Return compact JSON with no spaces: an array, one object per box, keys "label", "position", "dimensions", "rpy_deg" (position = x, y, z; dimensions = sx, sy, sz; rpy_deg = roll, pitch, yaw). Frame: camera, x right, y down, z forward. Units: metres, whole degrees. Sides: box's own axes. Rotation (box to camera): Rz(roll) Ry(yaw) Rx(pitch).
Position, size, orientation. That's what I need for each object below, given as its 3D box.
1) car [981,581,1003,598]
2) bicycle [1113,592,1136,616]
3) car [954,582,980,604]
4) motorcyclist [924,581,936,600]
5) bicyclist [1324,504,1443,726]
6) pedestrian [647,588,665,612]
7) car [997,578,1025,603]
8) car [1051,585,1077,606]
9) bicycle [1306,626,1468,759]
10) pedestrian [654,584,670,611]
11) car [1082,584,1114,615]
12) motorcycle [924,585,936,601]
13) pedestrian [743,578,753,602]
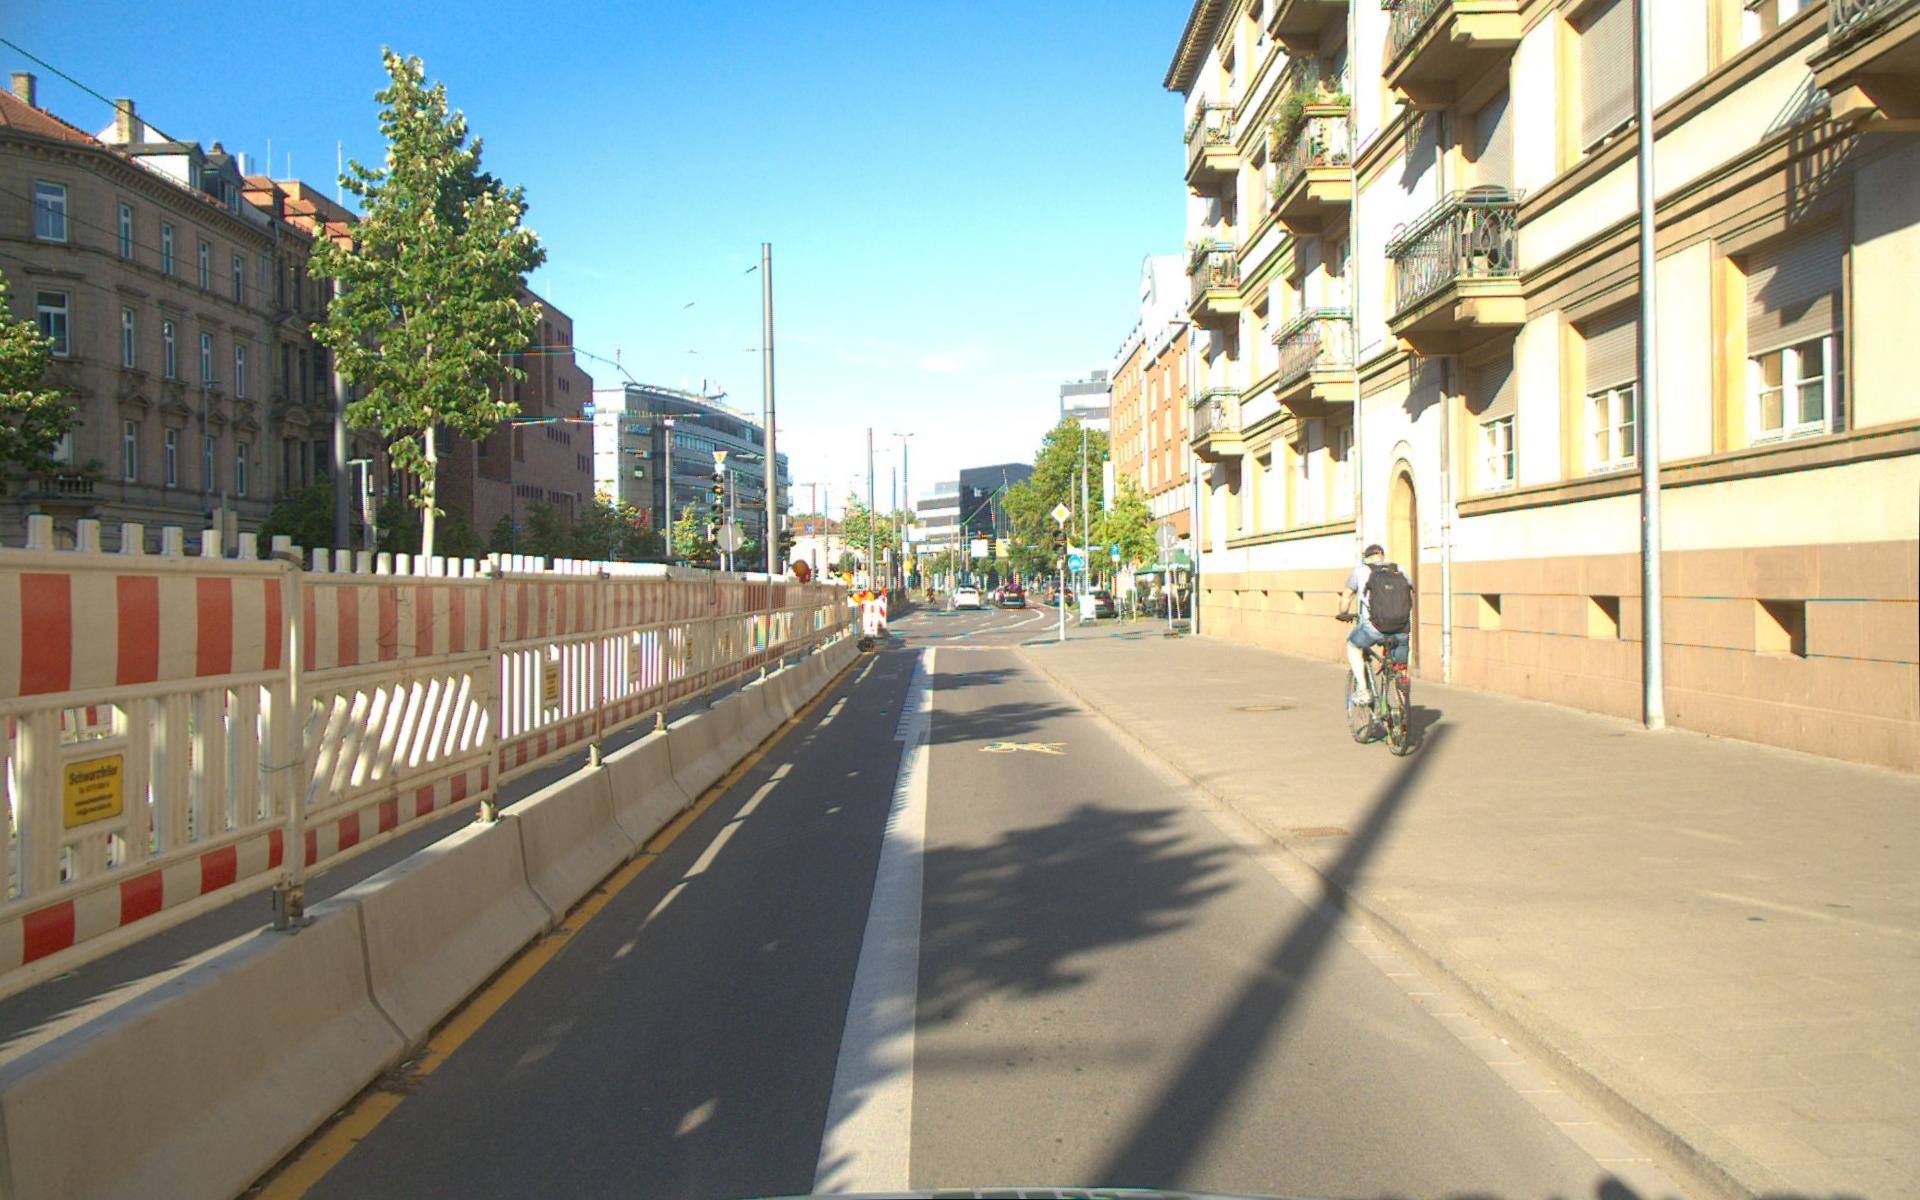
[{"label":"car","position":[2.812,-0.941,146.563],"dimensions":[1.813,1.524,4.378],"rpy_deg":[-1,0,0]},{"label":"bicycle","position":[8.248,0.228,82.923],"dimensions":[0.750,1.100,1.996],"rpy_deg":[-6,0,-4]},{"label":"car","position":[0.475,-0.493,116.141],"dimensions":[1.744,1.439,4.818],"rpy_deg":[1,1,0]},{"label":"motorcyclist","position":[-2.560,-0.830,141.954],"dimensions":[0.998,1.631,1.148],"rpy_deg":[1,0,0]},{"label":"bicyclist","position":[3.554,0.118,13.951],"dimensions":[0.718,1.794,0.937],"rpy_deg":[-1,0,-1]},{"label":"pedestrian","position":[-15.114,-0.010,82.284],"dimensions":[0.706,1.188,0.721],"rpy_deg":[-3,0,0]},{"label":"car","position":[3.737,-0.723,121.830],"dimensions":[1.934,1.790,4.632],"rpy_deg":[1,1,0]},{"label":"car","position":[8.385,-0.385,134.164],"dimensions":[1.809,1.587,4.633],"rpy_deg":[1,2,0]},{"label":"bicycle","position":[3.562,0.740,14.011],"dimensions":[0.752,0.969,2.198],"rpy_deg":[-1,0,-1]},{"label":"pedestrian","position":[-15.199,-0.109,84.323],"dimensions":[0.633,1.331,0.721],"rpy_deg":[-3,0,0]},{"label":"car","position":[7.761,-0.031,92.851],"dimensions":[1.684,1.665,4.234],"rpy_deg":[-2,0,6]},{"label":"motorcycle","position":[-2.558,-0.606,141.889],"dimensions":[0.998,1.335,2.914],"rpy_deg":[1,1,0]},{"label":"pedestrian","position":[-15.319,-0.755,119.388],"dimensions":[0.627,1.725,0.541],"rpy_deg":[1,0,0]}]
